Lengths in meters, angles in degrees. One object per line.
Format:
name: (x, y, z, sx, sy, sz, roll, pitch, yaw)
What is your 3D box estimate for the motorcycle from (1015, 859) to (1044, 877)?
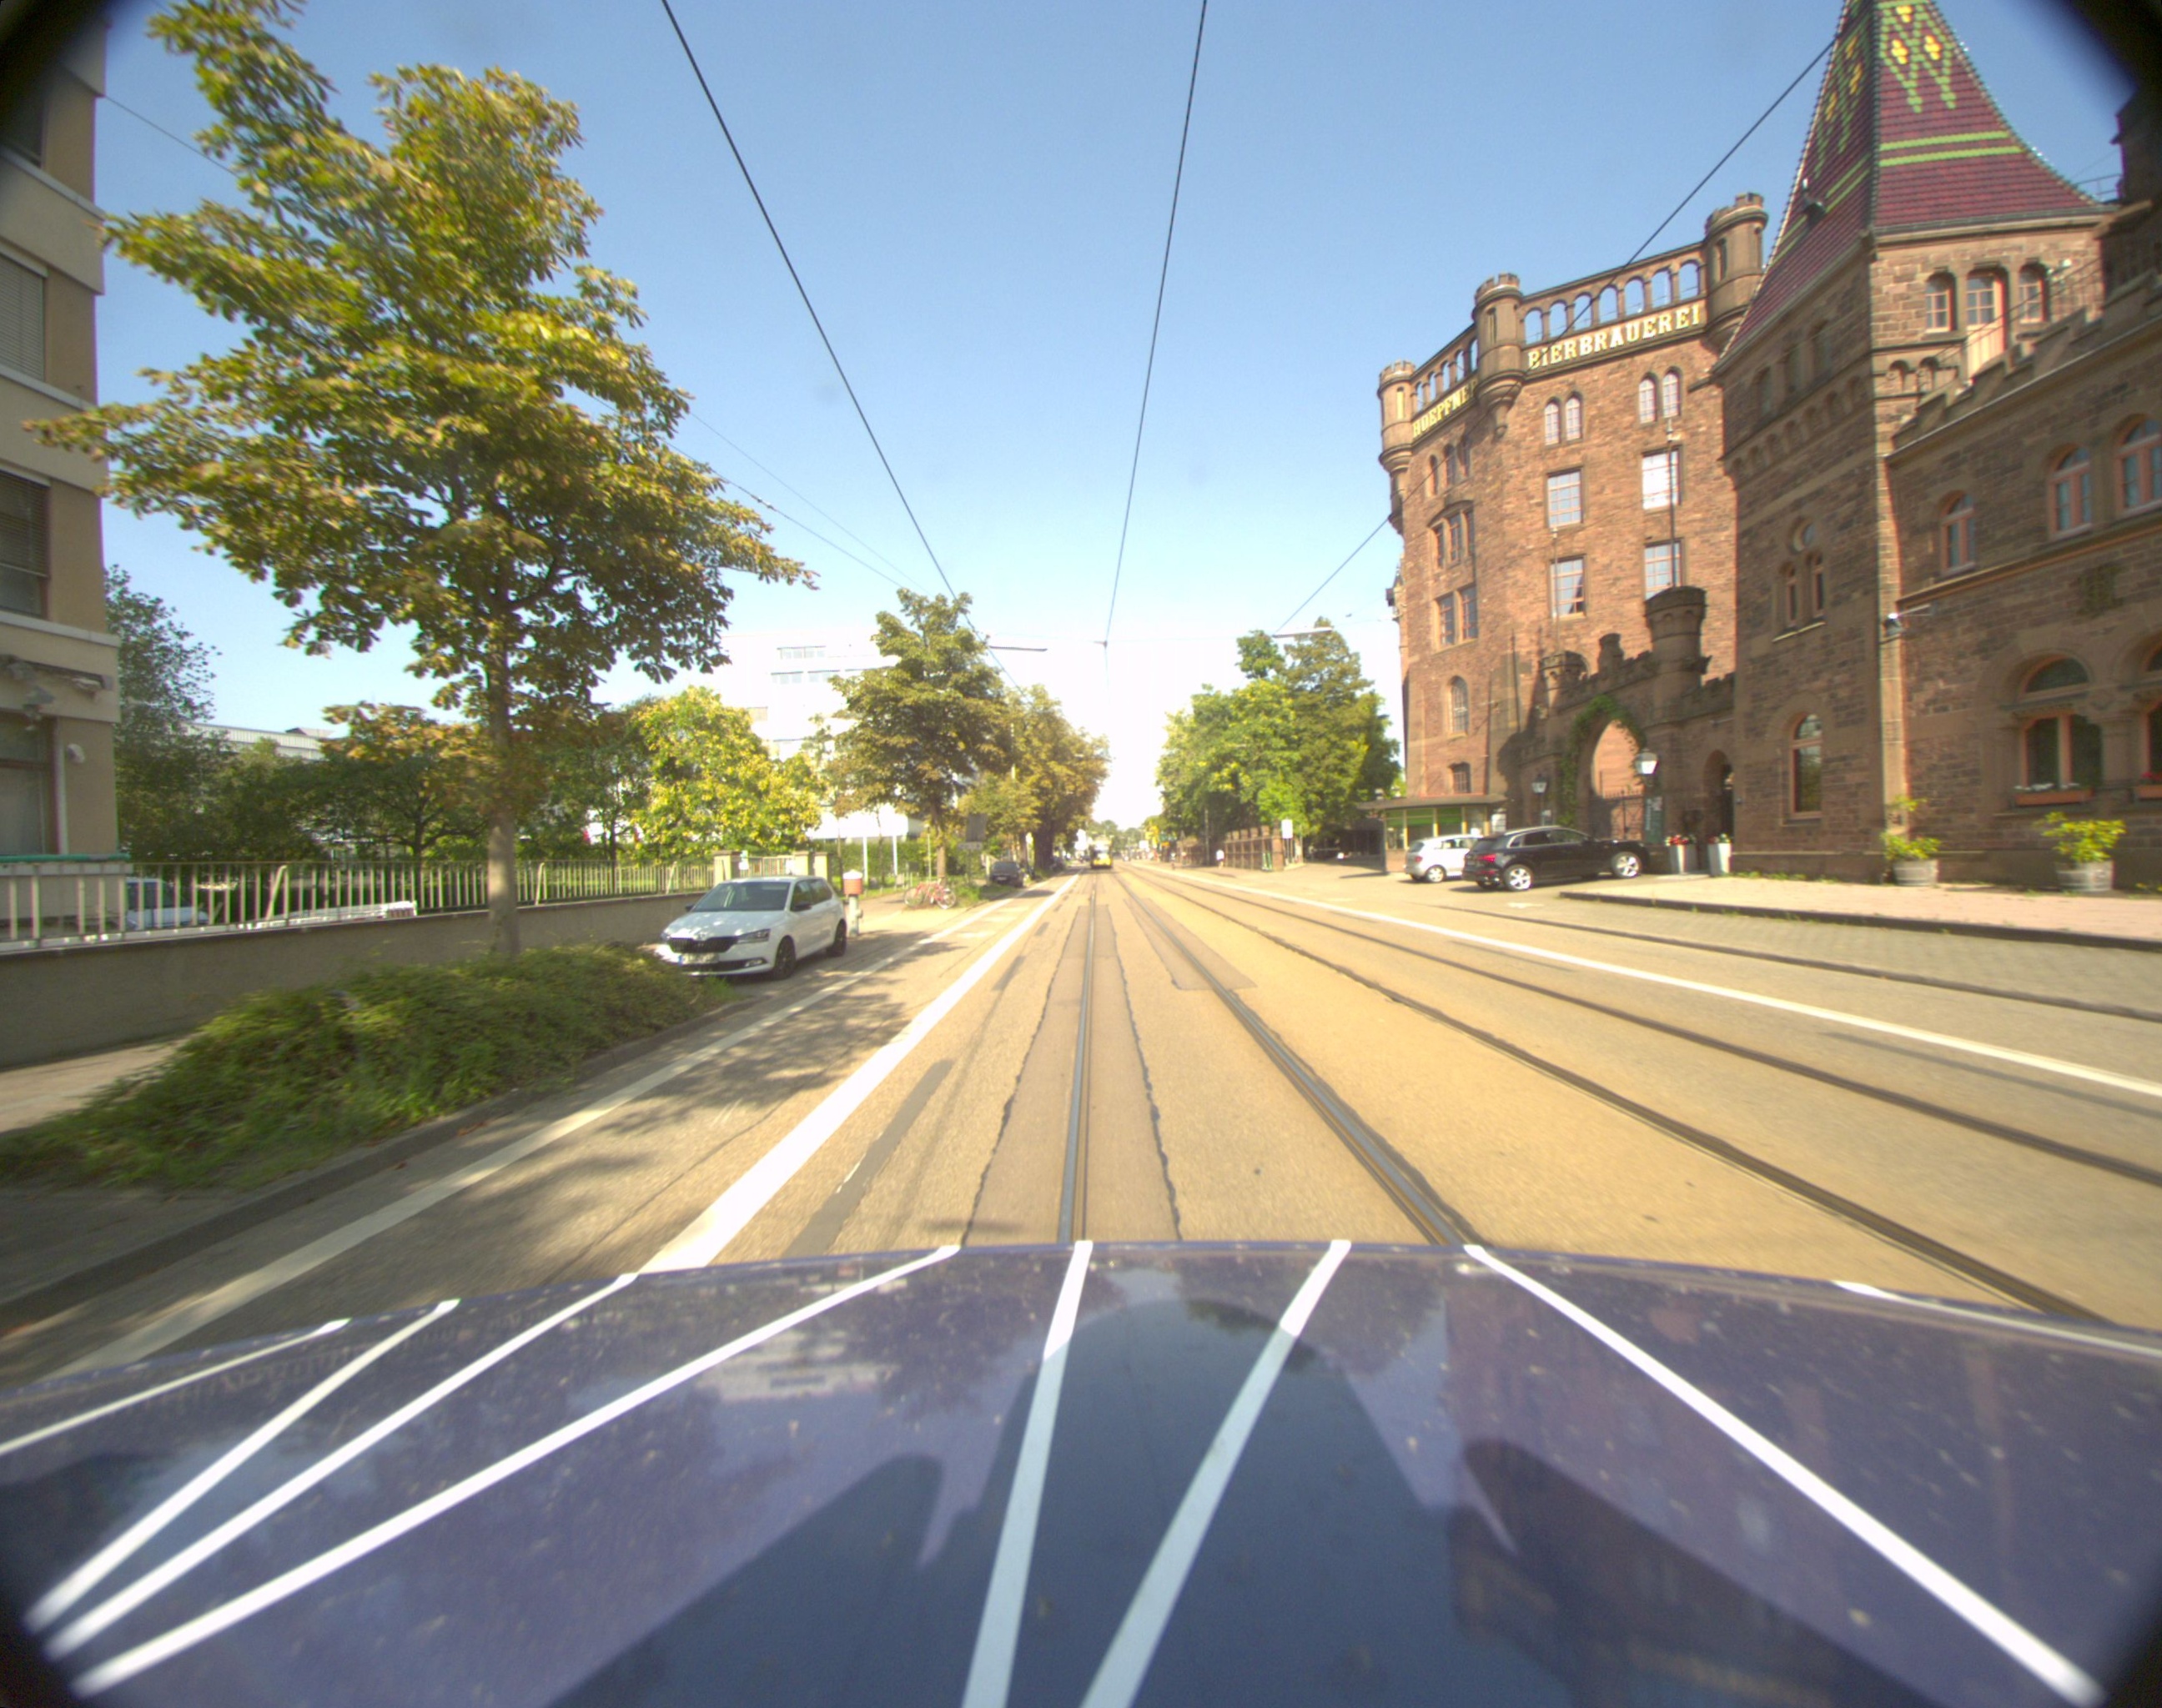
motorcycle: (-3.651, 0.965, 53.727, 2.061, 1.236, 0.846, 0, 1, 40)

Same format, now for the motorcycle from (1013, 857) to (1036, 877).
motorcycle: (-3.901, 0.866, 52.118, 0.846, 1.319, 2.062, -1, 1, -27)

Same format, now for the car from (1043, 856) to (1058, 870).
car: (-3.328, 0.912, 82.367, 1.566, 1.433, 3.563, 1, 1, -1)

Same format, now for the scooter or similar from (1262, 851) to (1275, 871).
scooter or similar: (11.475, 0.437, 46.514, 0.818, 1.142, 0.283, -6, 3, -35)

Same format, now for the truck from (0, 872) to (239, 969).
truck: (-26.411, 1.721, 19.818, 6.582, 2.202, 2.121, -2, 1, 2)

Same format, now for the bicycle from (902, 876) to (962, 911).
bicycle: (-4.772, 1.257, 24.460, 1.773, 1.058, 0.796, 0, 1, -1)

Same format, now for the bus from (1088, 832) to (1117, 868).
bus: (2.557, -0.504, 87.721, 2.900, 3.771, 9.320, -2, 1, 4)

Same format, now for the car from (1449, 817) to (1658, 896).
car: (12.951, 0.062, 21.054, 4.407, 1.636, 1.957, -6, 0, 3)

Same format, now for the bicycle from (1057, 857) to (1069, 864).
bicycle: (-2.562, 0.896, 105.482, 1.621, 1.009, 0.382, -2, 1, -2)

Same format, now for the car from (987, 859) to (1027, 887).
car: (-4.086, 1.006, 42.618, 1.745, 1.477, 4.437, -1, 0, 0)

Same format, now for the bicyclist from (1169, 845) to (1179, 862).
bicyclist: (8.615, -0.040, 70.359, 0.699, 1.571, 1.087, -2, 2, -1)

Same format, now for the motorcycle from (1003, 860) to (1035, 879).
motorcycle: (-4.035, 1.012, 49.742, 1.984, 1.218, 0.647, -2, 1, 26)

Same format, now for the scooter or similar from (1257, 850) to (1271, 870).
scooter or similar: (11.489, 0.371, 47.748, 0.818, 1.142, 0.283, -6, 3, -35)

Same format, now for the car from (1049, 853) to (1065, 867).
car: (-2.918, 0.754, 94.528, 1.866, 1.643, 4.183, 0, 1, 0)

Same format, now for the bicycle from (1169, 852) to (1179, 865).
bicycle: (8.615, 0.404, 70.383, 0.699, 1.151, 2.037, -2, 1, -1)

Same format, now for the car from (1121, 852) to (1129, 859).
car: (10.421, 0.344, 180.137, 1.694, 1.433, 4.000, -2, 0, 1)

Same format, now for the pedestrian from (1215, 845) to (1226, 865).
pedestrian: (11.414, 0.058, 62.306, 0.717, 1.580, 0.775, -2, 1, 1)

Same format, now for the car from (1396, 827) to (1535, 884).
car: (13.597, 0.052, 27.061, 3.908, 1.586, 1.823, -6, 0, 4)

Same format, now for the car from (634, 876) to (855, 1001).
car: (-4.942, 1.152, 11.809, 1.644, 1.421, 3.988, -1, 1, 0)
